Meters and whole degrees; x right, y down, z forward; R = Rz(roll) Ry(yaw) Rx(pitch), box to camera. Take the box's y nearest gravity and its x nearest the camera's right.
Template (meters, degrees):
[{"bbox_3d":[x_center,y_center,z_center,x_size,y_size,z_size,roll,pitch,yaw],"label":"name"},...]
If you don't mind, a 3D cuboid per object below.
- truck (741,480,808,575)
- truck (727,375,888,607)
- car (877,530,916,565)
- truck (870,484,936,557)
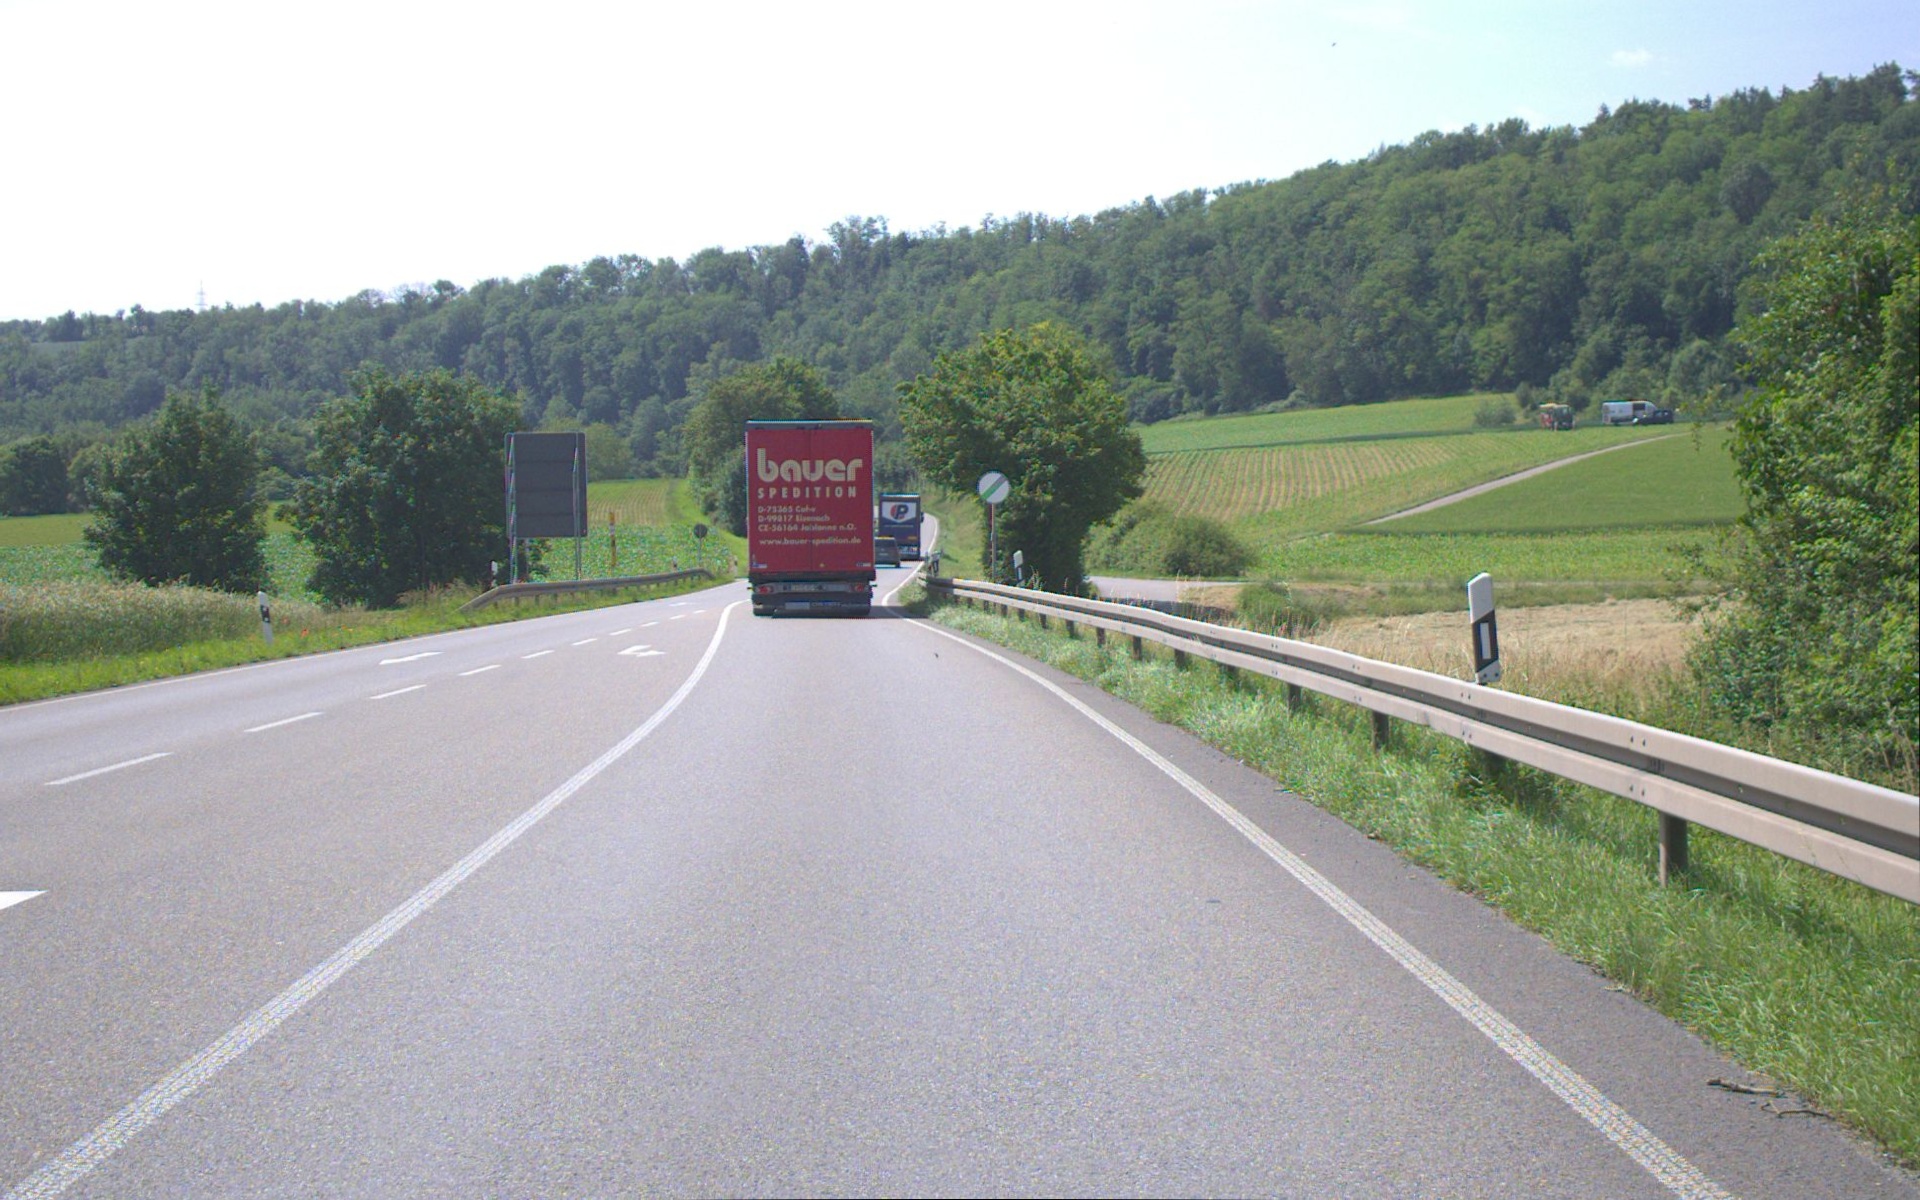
[{"bbox_3d":[-8.312,-3.237,154.562,2.530,4.105,6.021,-2,1,0],"label":"truck"},{"bbox_3d":[-3.298,-2.347,75.389,3.172,4.609,13.545,-1,1,-2],"label":"truck"},{"bbox_3d":[-3.437,-2.859,186.502,1.993,1.804,4.000,2,1,-2],"label":"car"},{"bbox_3d":[-3.627,-4.963,217.127,3.905,4.354,13.293,2,1,-1],"label":"truck"}]
